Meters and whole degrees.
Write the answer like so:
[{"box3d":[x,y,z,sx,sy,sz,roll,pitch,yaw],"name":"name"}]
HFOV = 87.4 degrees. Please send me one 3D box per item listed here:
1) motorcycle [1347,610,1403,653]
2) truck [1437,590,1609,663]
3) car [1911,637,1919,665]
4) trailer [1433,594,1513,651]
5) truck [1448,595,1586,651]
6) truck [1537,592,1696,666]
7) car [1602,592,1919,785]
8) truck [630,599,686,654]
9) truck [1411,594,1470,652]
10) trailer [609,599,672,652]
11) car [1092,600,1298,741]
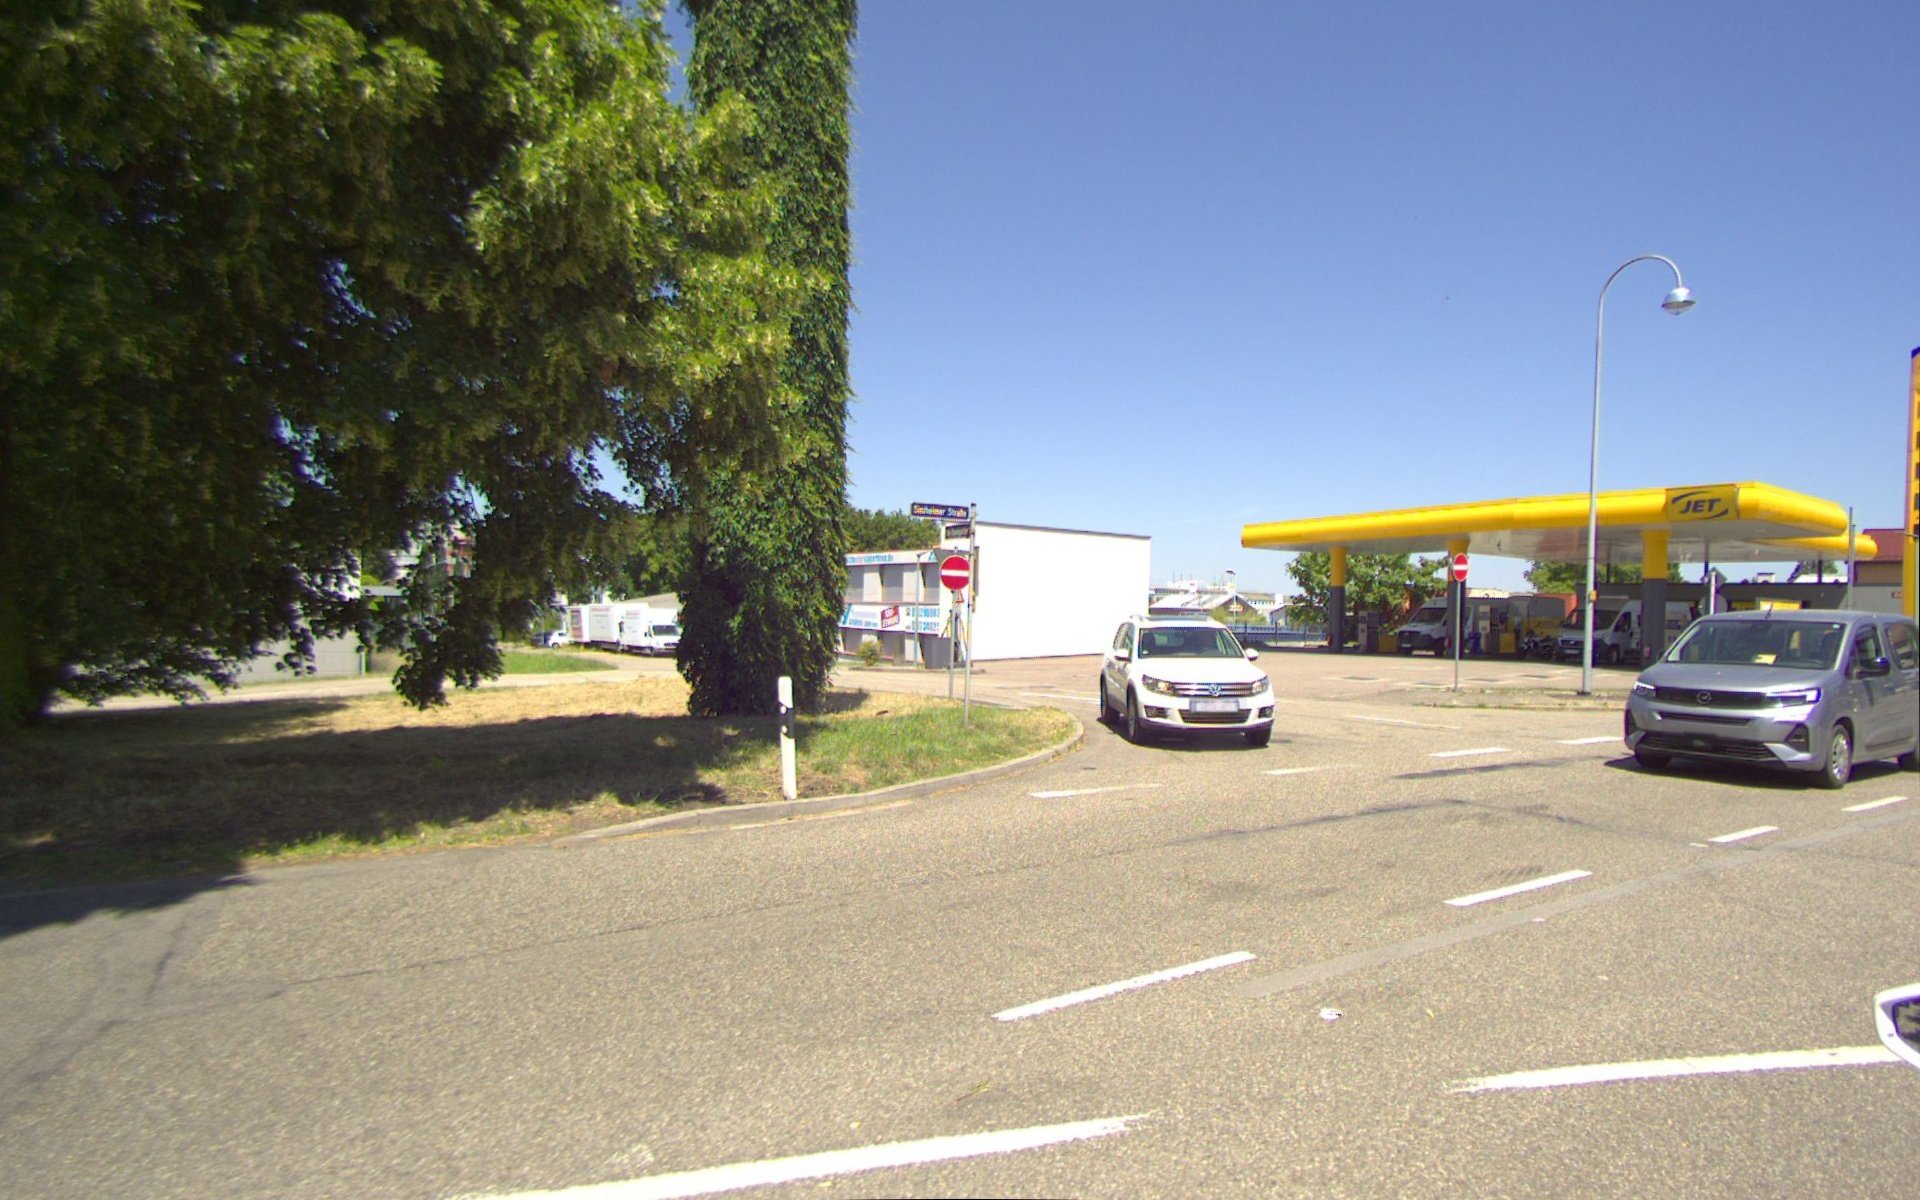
[{"box3d":[20.119,1.526,48.703,2.755,2.040,0.834,2,-1,-24],"name":"motorcycle"},{"box3d":[24.489,1.181,43.733,6.621,2.951,2.639,2,-1,-16],"name":"truck"},{"box3d":[60.824,3.184,61.455,1.876,1.732,3.635,2,-1,-38],"name":"car"},{"box3d":[30.823,1.349,60.297,5.857,3.262,1.852,1,-1,-36],"name":"trailer"},{"box3d":[36.892,1.484,66.847,2.135,3.471,7.814,2,-1,-36],"name":"truck"},{"box3d":[25.039,1.149,38.238,6.650,2.632,2.224,2,-1,-29],"name":"truck"},{"box3d":[9.228,0.881,11.293,4.317,1.796,1.785,2,-1,-33],"name":"car"},{"box3d":[-19.805,1.725,65.751,2.283,3.468,4.679,2,-1,-33],"name":"truck"},{"box3d":[27.756,1.311,58.021,3.159,3.285,1.833,1,0,-36],"name":"truck"},{"box3d":[-22.183,1.748,69.455,2.283,3.454,7.255,2,-1,-33],"name":"trailer"},{"box3d":[3.116,0.877,14.257,1.936,1.695,4.249,0,-1,0],"name":"car"}]
